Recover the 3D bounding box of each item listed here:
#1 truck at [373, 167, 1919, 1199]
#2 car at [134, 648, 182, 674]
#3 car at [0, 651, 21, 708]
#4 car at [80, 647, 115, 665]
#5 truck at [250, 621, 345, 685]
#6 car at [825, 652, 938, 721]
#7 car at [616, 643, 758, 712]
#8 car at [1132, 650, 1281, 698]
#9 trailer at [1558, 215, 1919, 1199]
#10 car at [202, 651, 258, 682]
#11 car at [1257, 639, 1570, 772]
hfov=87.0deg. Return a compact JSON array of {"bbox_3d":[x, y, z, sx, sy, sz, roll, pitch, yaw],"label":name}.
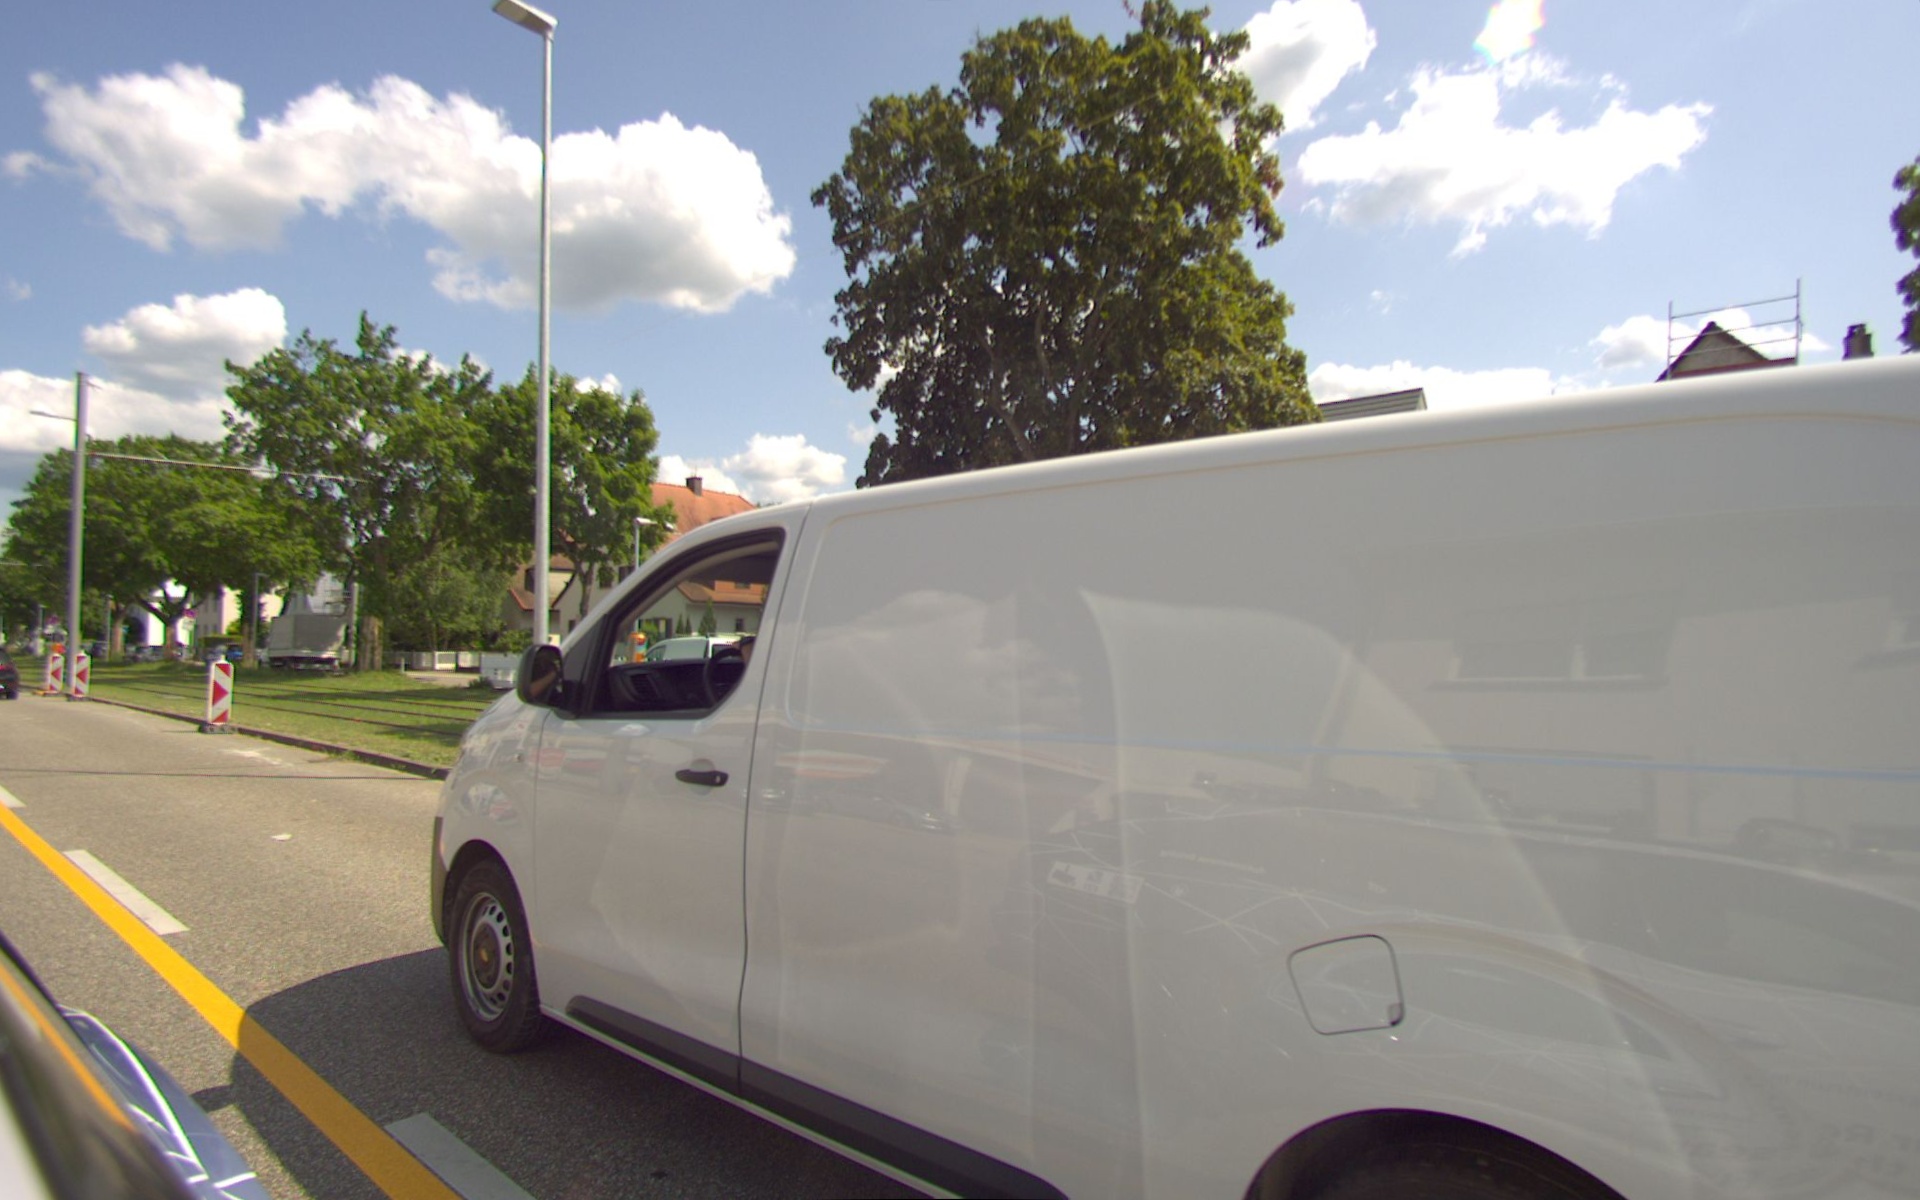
[{"bbox_3d":[0.321,0.560,2.913,5.113,1.924,1.801,-1,-5,41],"label":"truck"},{"bbox_3d":[-53.060,4.005,66.906,4.522,1.524,1.685,-2,-2,41],"label":"car"},{"bbox_3d":[-26.124,2.031,26.543,3.857,1.423,1.675,-2,-5,41],"label":"car"},{"bbox_3d":[-69.278,4.466,81.254,3.998,1.311,1.615,-2,-2,41],"label":"car"},{"bbox_3d":[-31.751,2.466,48.407,5.948,2.826,2.340,-2,-2,41],"label":"truck"},{"bbox_3d":[-1.704,1.805,21.611,1.060,1.358,2.450,4,-5,-45],"label":"car"},{"bbox_3d":[-7.227,1.988,26.647,3.999,1.638,1.635,-2,-4,41],"label":"car"},{"bbox_3d":[7.290,2.186,30.160,4.118,1.285,1.517,-2,-4,41],"label":"car"},{"bbox_3d":[3.511,0.514,0.289,5.482,1.849,2.041,-2,-5,41],"label":"trailer"},{"bbox_3d":[-39.789,3.572,55.123,3.929,1.524,1.651,-2,-2,41],"label":"car"},{"bbox_3d":[6.525,1.440,14.808,3.897,1.664,1.605,-2,-4,41],"label":"car"}]
